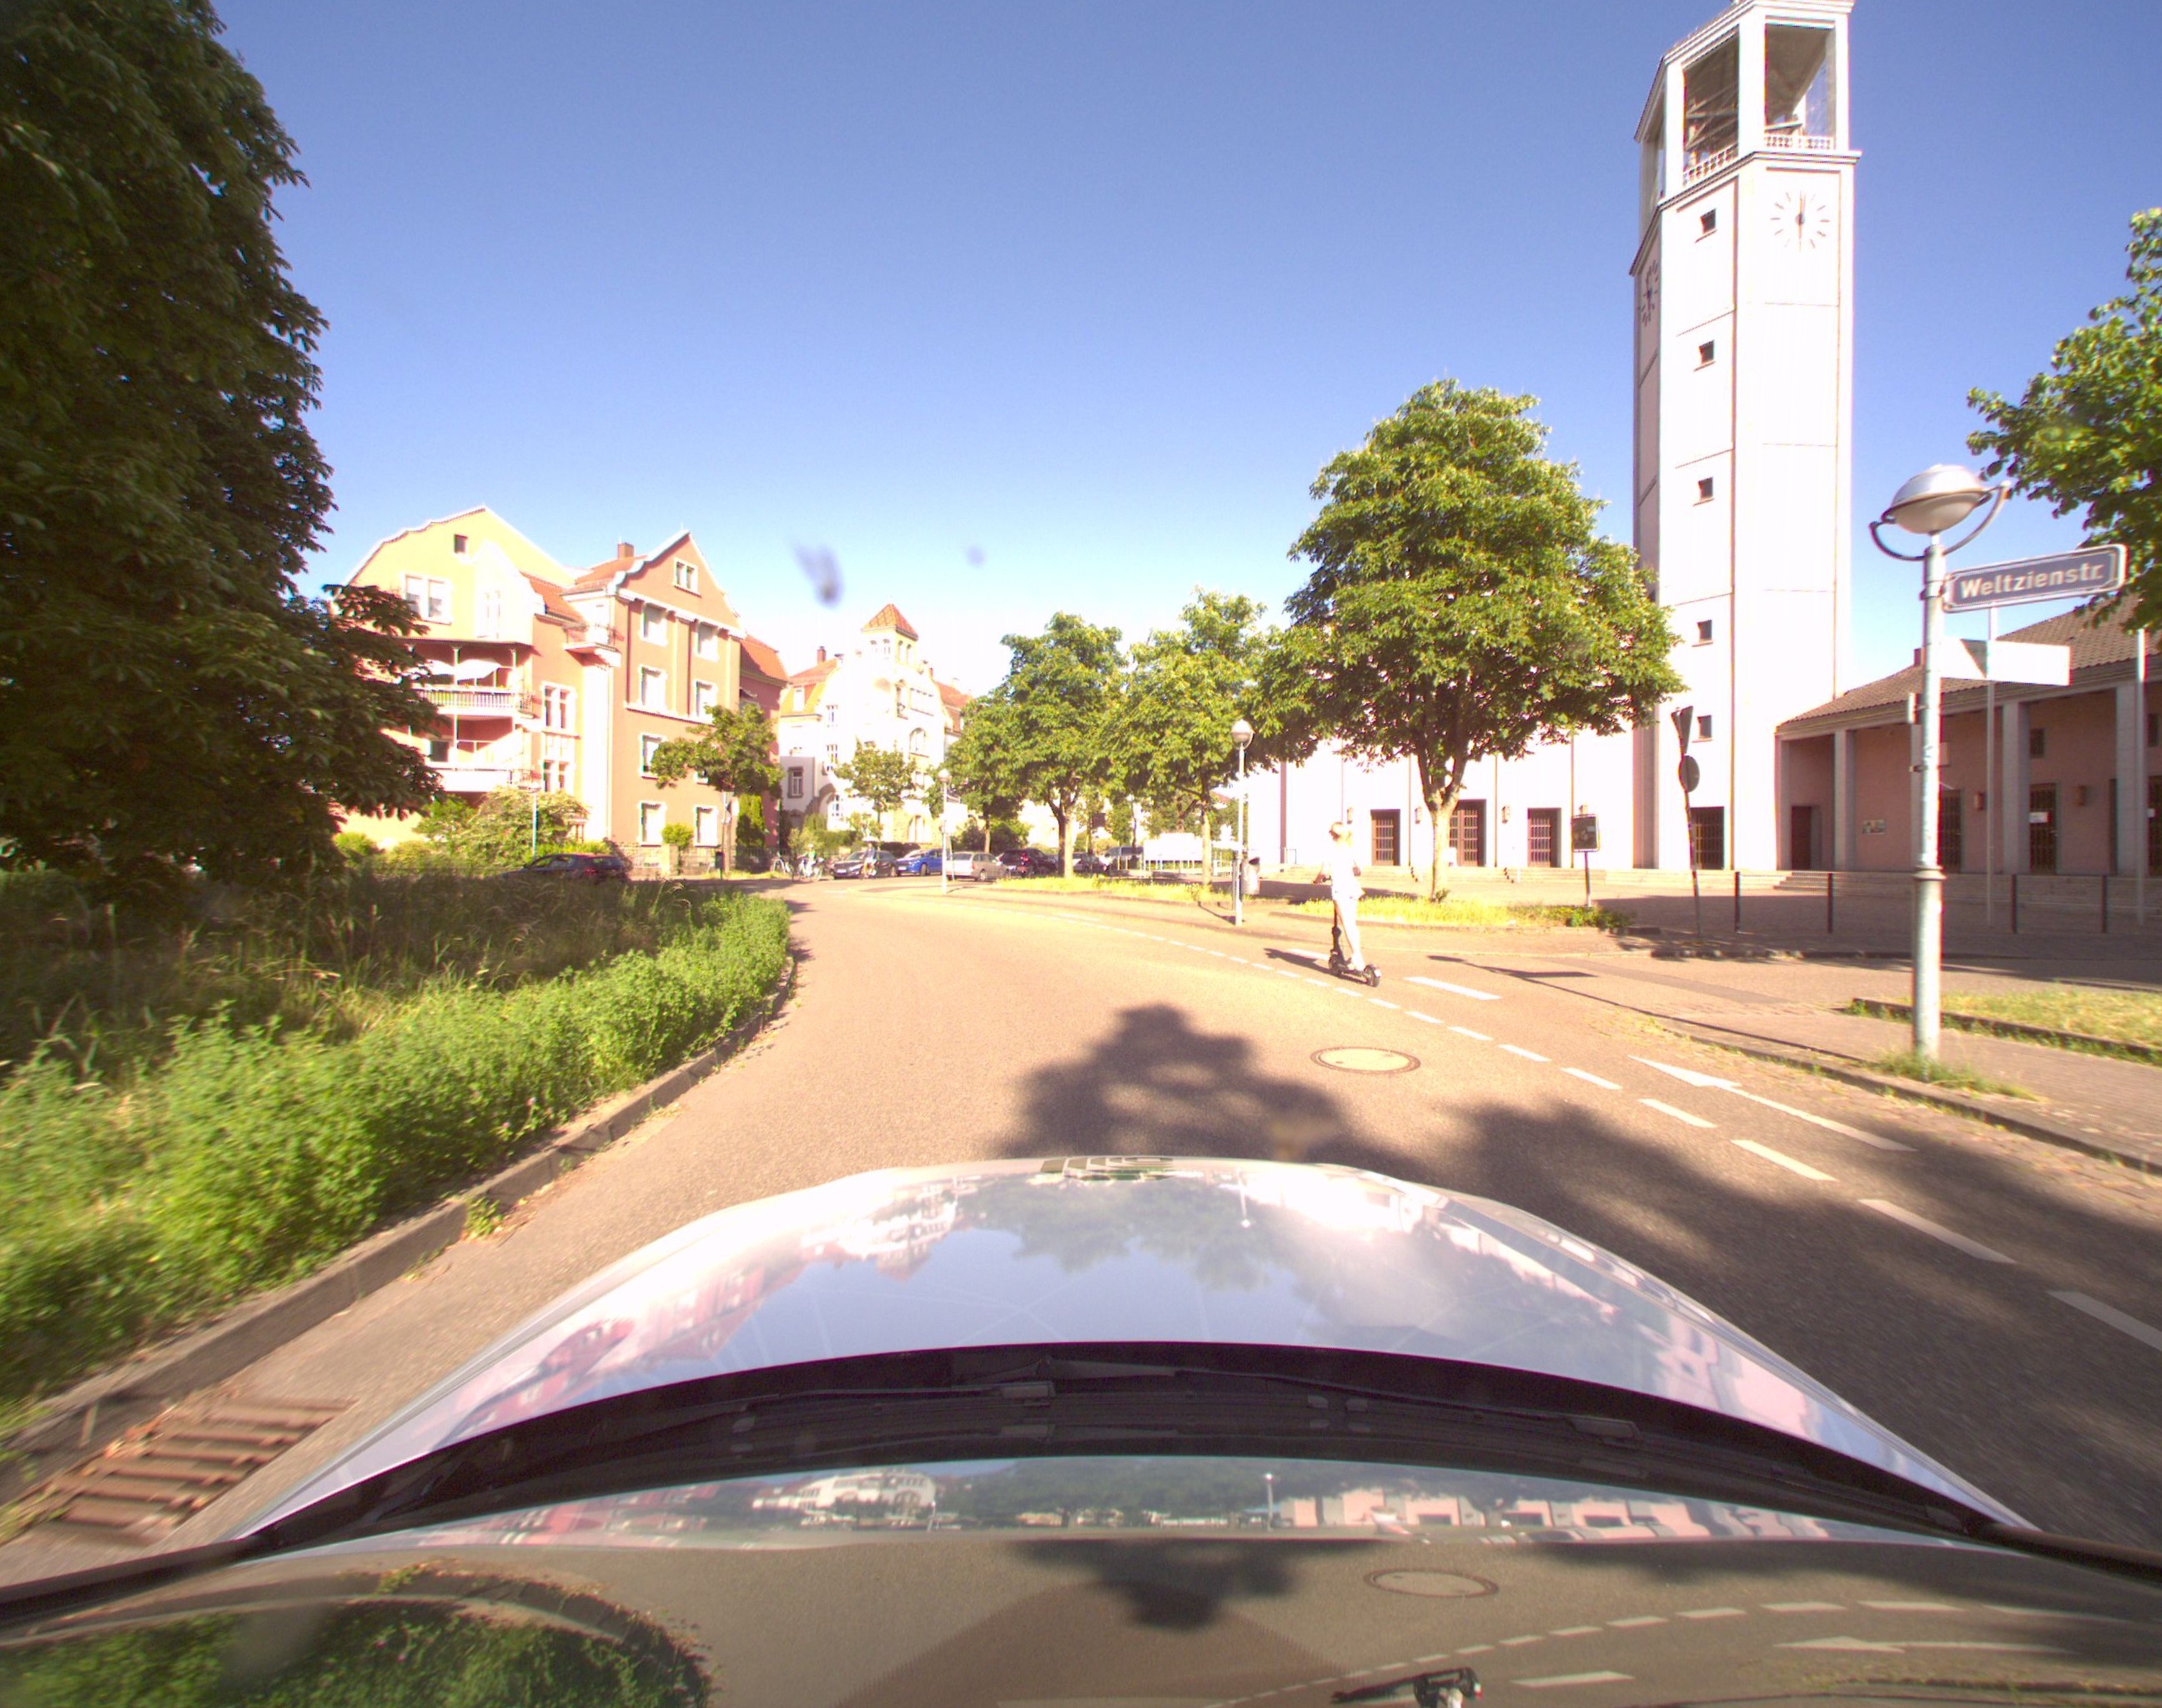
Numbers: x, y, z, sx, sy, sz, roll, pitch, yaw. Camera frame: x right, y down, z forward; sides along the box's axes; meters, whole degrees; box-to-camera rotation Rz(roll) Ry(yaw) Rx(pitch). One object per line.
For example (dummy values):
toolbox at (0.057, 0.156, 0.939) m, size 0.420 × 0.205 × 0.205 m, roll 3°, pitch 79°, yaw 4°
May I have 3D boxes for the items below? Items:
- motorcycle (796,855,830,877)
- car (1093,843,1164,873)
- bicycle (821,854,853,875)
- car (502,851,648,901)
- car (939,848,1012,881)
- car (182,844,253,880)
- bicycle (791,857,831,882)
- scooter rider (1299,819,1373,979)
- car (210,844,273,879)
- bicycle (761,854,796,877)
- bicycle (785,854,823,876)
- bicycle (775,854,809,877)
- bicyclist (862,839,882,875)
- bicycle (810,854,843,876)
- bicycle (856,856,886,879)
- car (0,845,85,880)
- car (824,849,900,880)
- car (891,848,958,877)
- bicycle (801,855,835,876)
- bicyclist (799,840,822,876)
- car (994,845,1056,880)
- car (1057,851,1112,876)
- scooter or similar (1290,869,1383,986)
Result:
motorcycle at (-14.406, 0.616, 43.836) m, size 1.709 × 1.107 × 0.503 m, roll 2°, pitch 1°, yaw 14°
car at (3.384, 0.285, 57.918) m, size 4.727 × 2.001 × 1.817 m, roll 1°, pitch 0°, yaw 16°
bicycle at (-13.751, 0.599, 45.831) m, size 1.708 × 1.107 × 0.518 m, roll 2°, pitch 1°, yaw 17°
car at (-15.448, 0.647, 24.864) m, size 3.951 × 1.419 × 1.881 m, roll -1°, pitch 0°, yaw 24°
car at (-4.873, 0.477, 38.233) m, size 1.790 × 1.416 × 4.357 m, roll 1°, pitch 0°, yaw 16°
car at (-36.819, 0.324, 34.806) m, size 1.697 × 1.447 × 3.504 m, roll 2°, pitch -1°, yaw -41°
bicycle at (-12.236, 0.687, 36.932) m, size 0.588 × 1.107 × 1.874 m, roll -1°, pitch 0°, yaw 24°
scooter rider at (3.023, 0.517, 9.695) m, size 0.623 × 1.832 × 0.630 m, roll 0°, pitch 0°, yaw -9°
car at (-39.875, 0.360, 38.755) m, size 1.697 × 1.562 × 4.244 m, roll 2°, pitch -1°, yaw -41°
bicycle at (-15.412, 0.569, 41.474) m, size 1.707 × 1.115 × 0.549 m, roll 2°, pitch 1°, yaw 21°
bicycle at (-14.664, 0.588, 43.181) m, size 1.815 × 1.107 × 0.501 m, roll 2°, pitch 1°, yaw 5°
bicycle at (-15.034, 0.587, 42.363) m, size 1.707 × 1.115 × 0.549 m, roll 2°, pitch 1°, yaw 21°
bicyclist at (-10.028, 0.141, 39.036) m, size 0.639 × 1.714 × 0.726 m, roll 0°, pitch -1°, yaw 18°
bicycle at (-14.070, 0.611, 44.972) m, size 1.708 × 1.107 × 0.503 m, roll 2°, pitch 1°, yaw 17°
bicycle at (-10.050, 0.641, 39.012) m, size 0.639 × 1.107 × 1.723 m, roll 0°, pitch 0°, yaw 14°
car at (-46.774, 0.364, 35.766) m, size 3.391 × 1.447 × 1.673 m, roll 2°, pitch -1°, yaw -28°
car at (-11.441, 0.534, 42.871) m, size 1.790 × 1.483 × 4.357 m, roll -2°, pitch -1°, yaw 16°
car at (-9.214, 0.464, 48.190) m, size 1.788 × 1.561 × 4.422 m, roll -2°, pitch -1°, yaw 21°
bicycle at (-14.319, 0.613, 44.392) m, size 1.709 × 1.107 × 0.503 m, roll 2°, pitch 1°, yaw 14°
bicyclist at (-12.246, 0.176, 36.931) m, size 0.588 × 1.581 × 0.809 m, roll -1°, pitch 0°, yaw 24°
car at (-2.892, 0.420, 42.871) m, size 1.790 × 1.728 × 4.357 m, roll 1°, pitch 0°, yaw 16°
car at (0.253, 0.560, 50.606) m, size 1.788 × 1.474 × 4.363 m, roll 1°, pitch 0°, yaw 24°
scooter or similar at (3.018, 0.828, 9.695) m, size 0.630 × 1.283 × 1.103 m, roll 0°, pitch 0°, yaw -9°
